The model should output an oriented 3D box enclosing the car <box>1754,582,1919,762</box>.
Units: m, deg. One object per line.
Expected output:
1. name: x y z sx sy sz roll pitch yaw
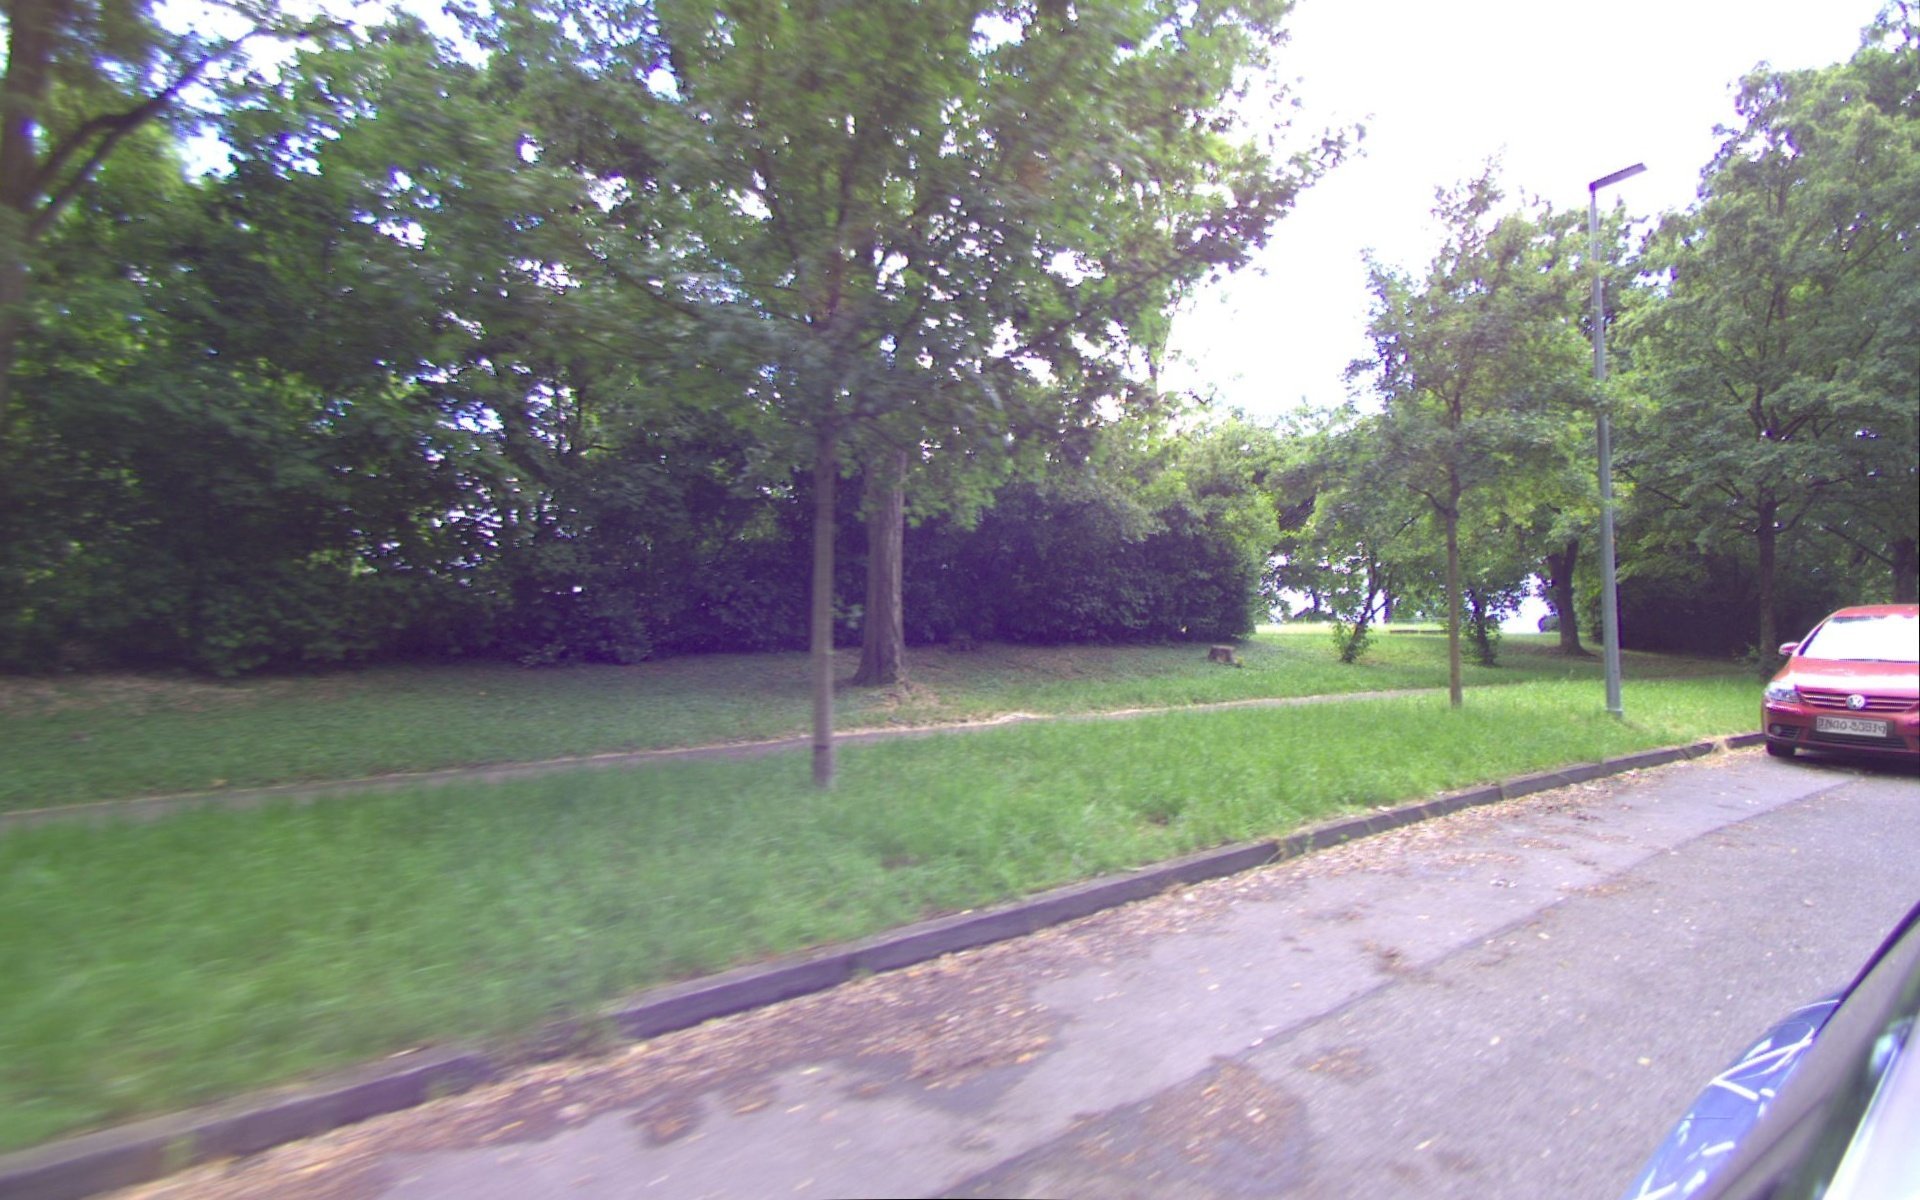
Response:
1. car: 10.082 0.608 10.480 4.589 1.572 1.716 -1 0 -36
